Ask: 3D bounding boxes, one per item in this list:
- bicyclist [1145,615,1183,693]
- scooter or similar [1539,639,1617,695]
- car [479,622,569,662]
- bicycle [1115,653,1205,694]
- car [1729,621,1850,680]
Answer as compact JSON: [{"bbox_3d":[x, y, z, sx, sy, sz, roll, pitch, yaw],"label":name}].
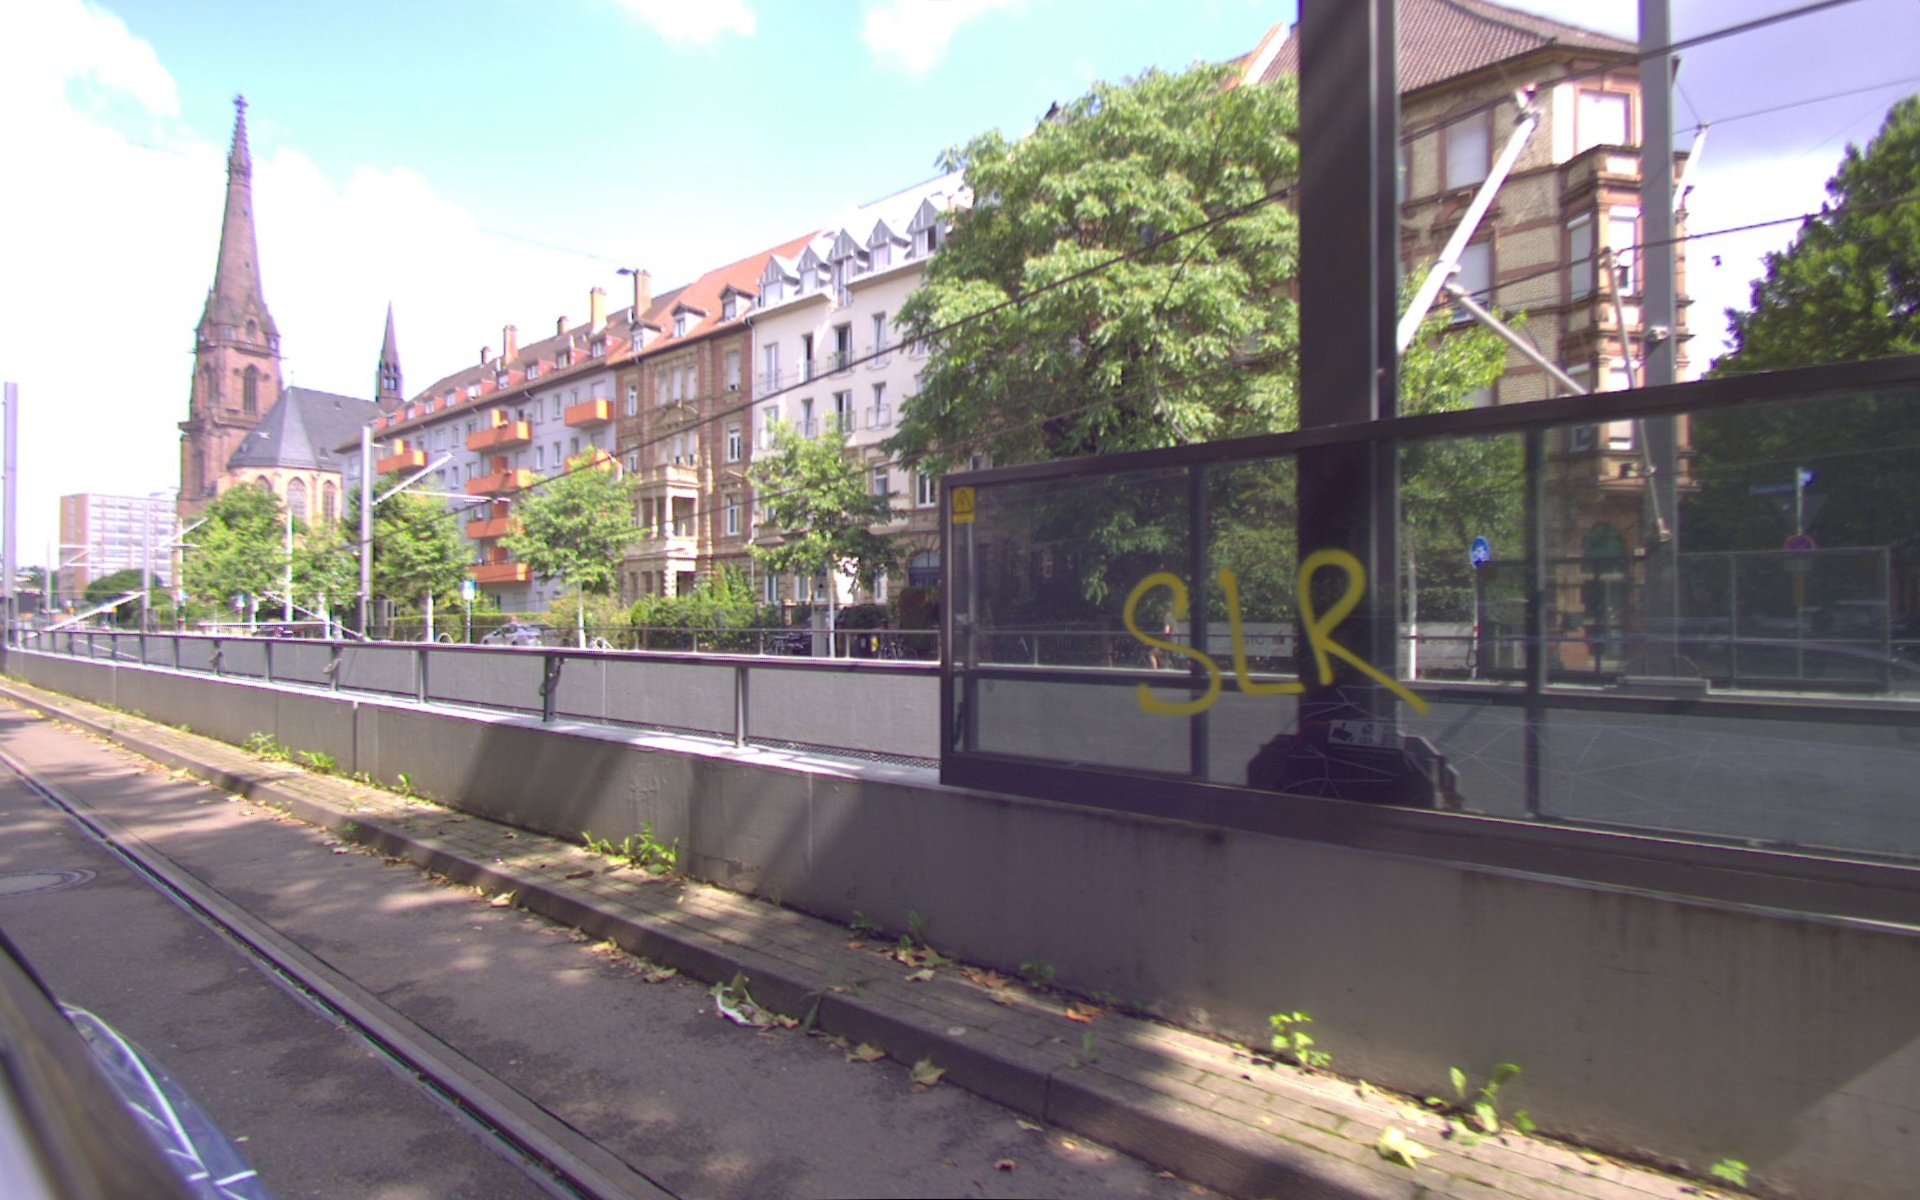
[{"bbox_3d":[4.144,1.095,20.548,0.607,1.556,0.498,-1,-3,41],"label":"bicyclist"},{"bbox_3d":[12.664,1.360,20.751,1.287,1.090,0.373,-1,0,41],"label":"scooter or similar"},{"bbox_3d":[-18.695,1.775,43.333,4.112,1.650,1.973,-1,-2,41],"label":"car"},{"bbox_3d":[4.071,1.491,20.704,1.816,0.774,0.491,-1,-3,41],"label":"bicycle"},{"bbox_3d":[23.716,1.400,29.091,1.917,1.547,3.962,0,-1,28],"label":"car"}]
